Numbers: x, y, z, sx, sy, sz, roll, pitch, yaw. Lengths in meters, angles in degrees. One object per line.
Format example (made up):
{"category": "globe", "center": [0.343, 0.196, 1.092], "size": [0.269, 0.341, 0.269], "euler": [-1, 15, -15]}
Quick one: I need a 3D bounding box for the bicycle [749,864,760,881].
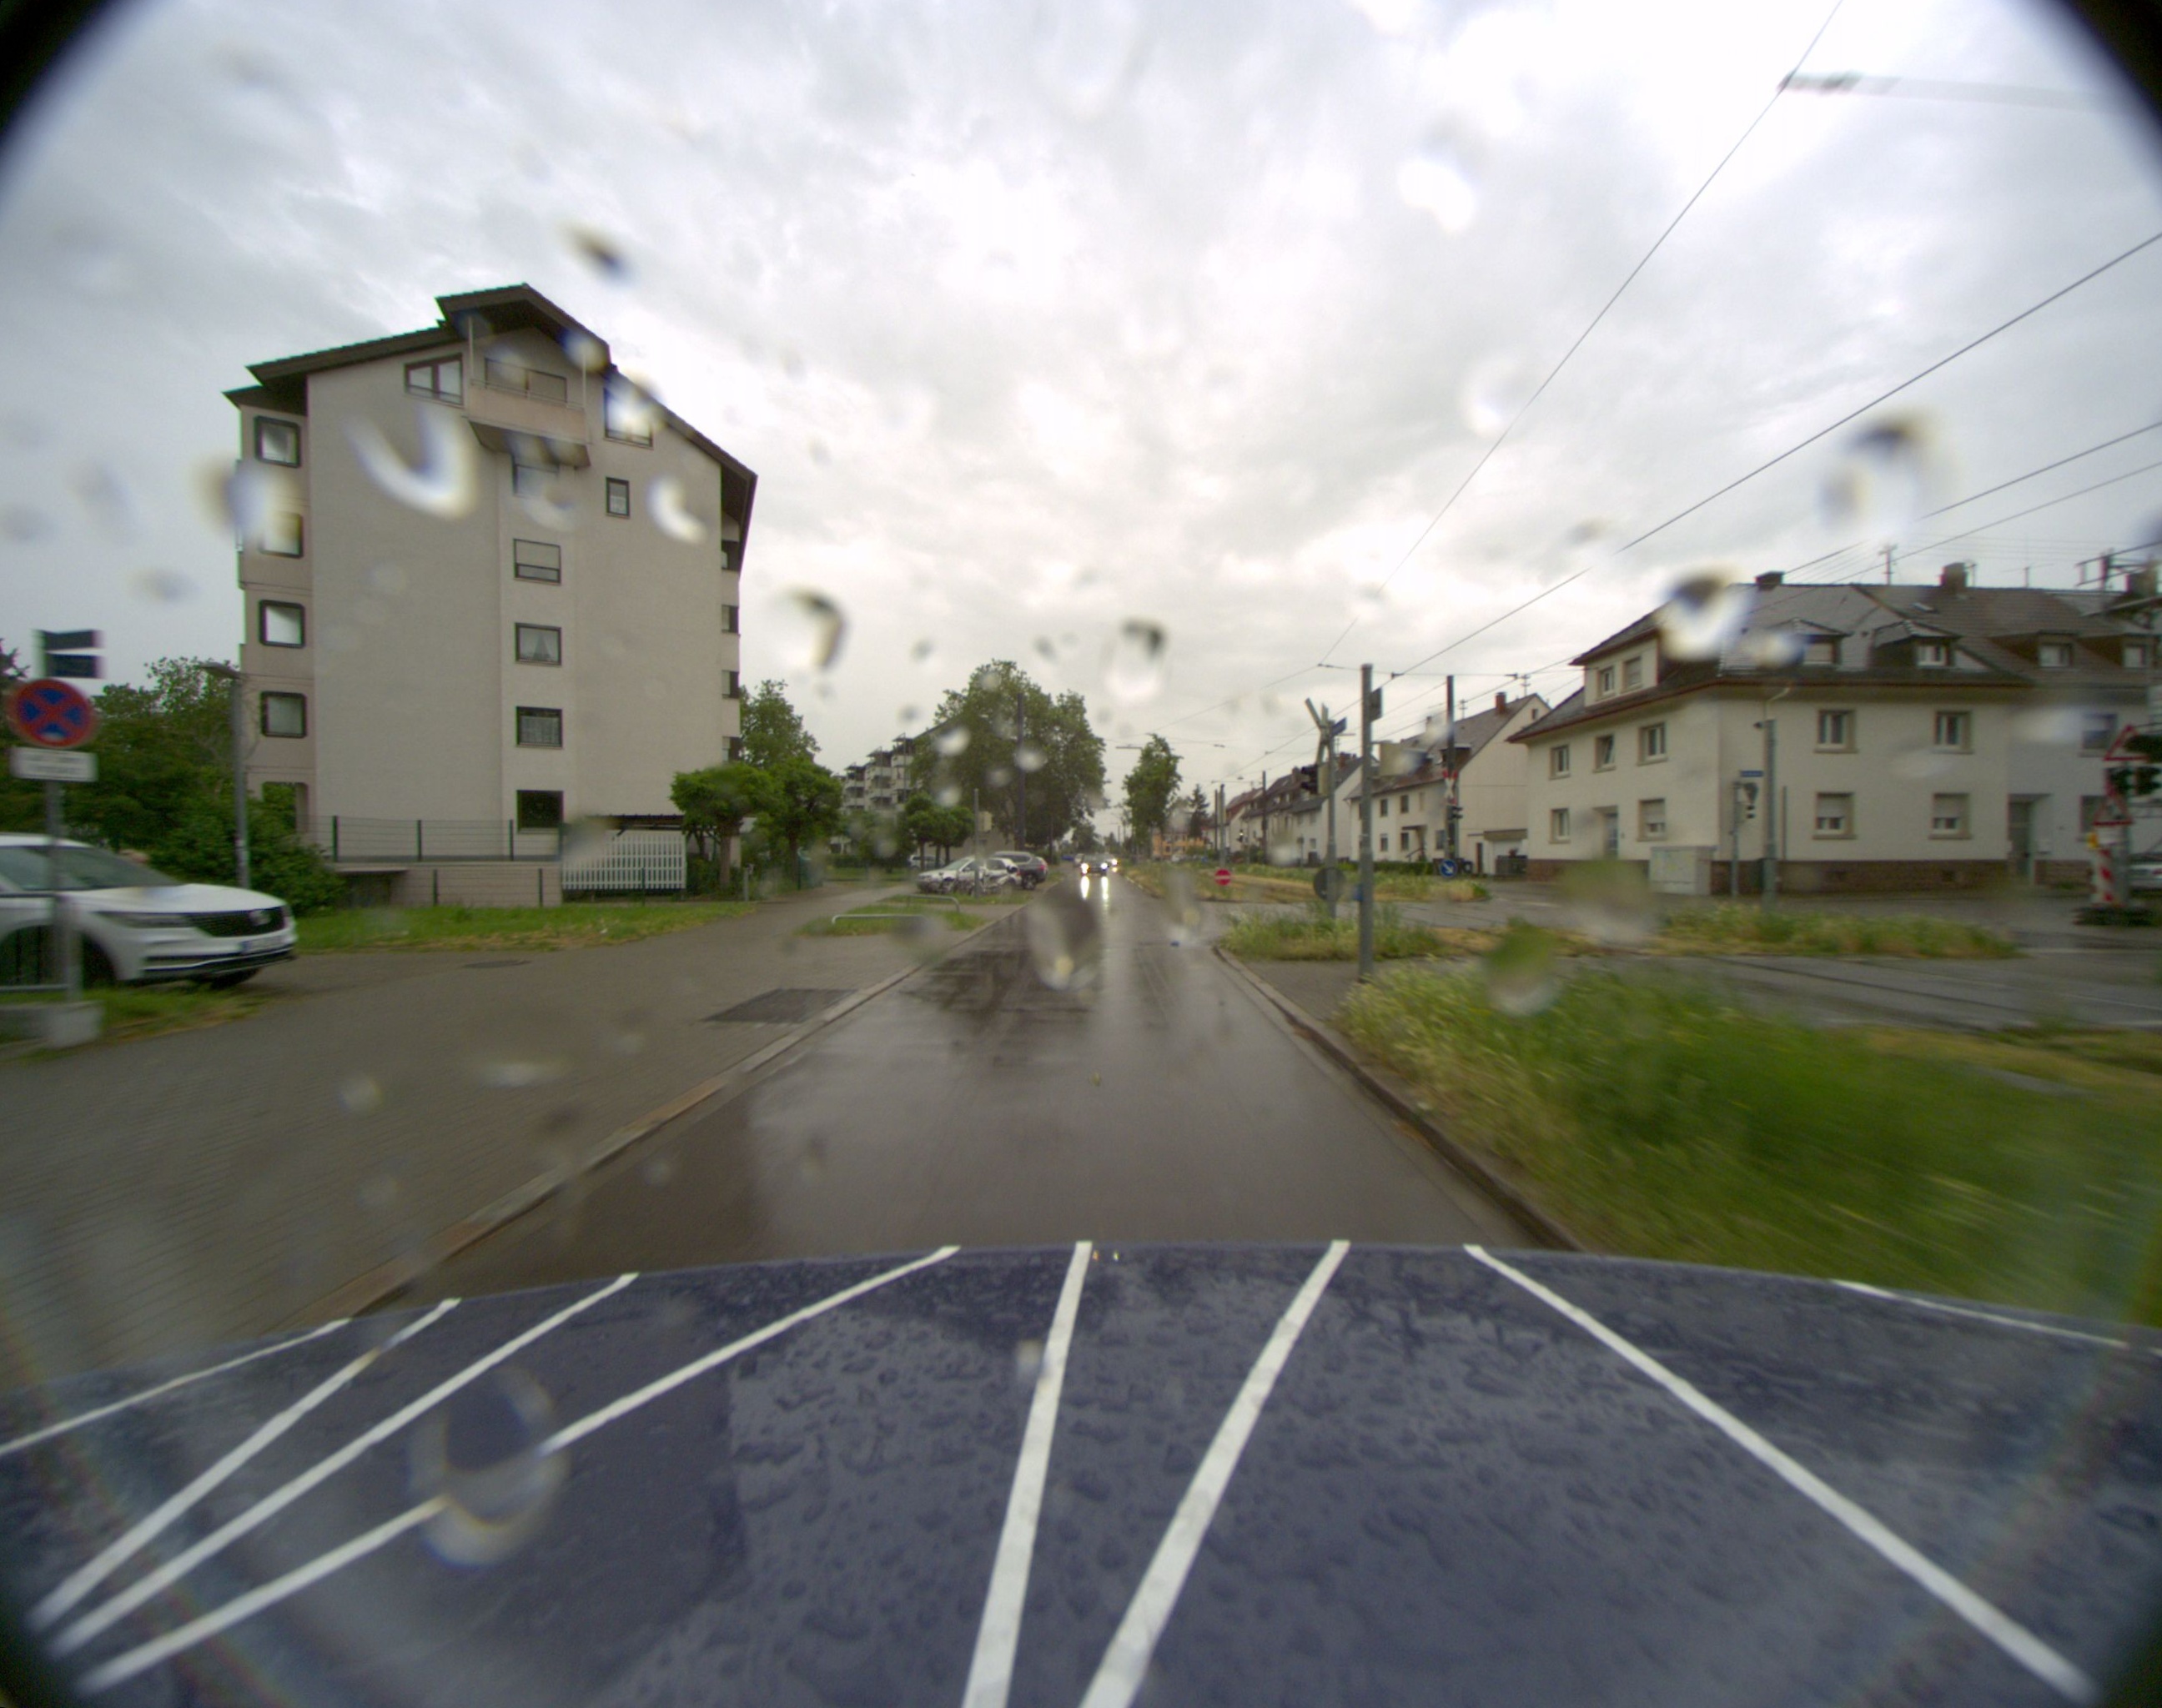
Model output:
{"category": "bicycle", "center": [-16.809, 0.934, 39.061], "size": [0.491, 0.843, 1.569], "euler": [0, 1, -24]}

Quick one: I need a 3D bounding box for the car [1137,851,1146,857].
{"category": "car", "center": [16.491, 0.022, 208.357], "size": [2.096, 1.423, 4.076], "euler": [0, 0, -1]}

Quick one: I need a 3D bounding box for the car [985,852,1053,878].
{"category": "car", "center": [-3.946, 0.665, 48.637], "size": [4.008, 1.500, 1.700], "euler": [0, 3, -37]}

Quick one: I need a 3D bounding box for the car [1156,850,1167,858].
{"category": "car", "center": [17.153, 0.011, 161.801], "size": [1.912, 1.581, 3.999], "euler": [0, 0, 0]}

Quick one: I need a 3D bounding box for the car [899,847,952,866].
{"category": "car", "center": [-13.972, 0.203, 68.339], "size": [4.303, 1.671, 1.871], "euler": [0, 1, 3]}

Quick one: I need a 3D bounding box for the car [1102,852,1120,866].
{"category": "car", "center": [3.518, 0.548, 88.549], "size": [1.854, 1.500, 4.119], "euler": [1, 0, -1]}

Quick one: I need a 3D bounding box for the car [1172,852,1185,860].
{"category": "car", "center": [17.197, 0.326, 134.094], "size": [1.715, 1.432, 3.999], "euler": [1, 0, -1]}

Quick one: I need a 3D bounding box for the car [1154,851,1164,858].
{"category": "car", "center": [17.087, -0.001, 166.482], "size": [1.881, 1.520, 3.999], "euler": [0, 0, 0]}

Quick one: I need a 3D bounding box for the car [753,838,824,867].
{"category": "car", "center": [-28.596, -0.119, 74.415], "size": [6.133, 2.762, 2.187], "euler": [0, 1, 3]}

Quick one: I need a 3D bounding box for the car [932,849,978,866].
{"category": "car", "center": [-11.897, 0.302, 71.696], "size": [4.121, 1.500, 1.853], "euler": [-1, 1, -12]}

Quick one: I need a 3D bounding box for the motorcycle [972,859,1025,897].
{"category": "motorcycle", "center": [-2.992, 0.864, 27.647], "size": [1.783, 1.329, 0.687], "euler": [1, 0, -34]}

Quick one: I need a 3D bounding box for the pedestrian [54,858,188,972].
{"category": "pedestrian", "center": [-13.796, 0.845, 10.947], "size": [0.840, 1.561, 0.814], "euler": [0, 1, -8]}

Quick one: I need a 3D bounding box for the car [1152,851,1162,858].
{"category": "car", "center": [17.603, 0.149, 175.393], "size": [1.998, 1.648, 4.000], "euler": [-1, 1, 2]}

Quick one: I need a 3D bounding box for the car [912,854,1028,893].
{"category": "car", "center": [-4.301, 0.749, 29.720], "size": [4.133, 1.414, 1.734], "euler": [1, 0, -34]}

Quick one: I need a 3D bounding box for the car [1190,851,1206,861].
{"category": "car", "center": [16.957, 0.333, 110.276], "size": [1.777, 1.418, 3.937], "euler": [1, 0, 0]}

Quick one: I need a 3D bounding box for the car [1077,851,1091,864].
{"category": "car", "center": [0.351, 0.382, 89.872], "size": [1.562, 1.510, 3.999], "euler": [0, 0, -1]}

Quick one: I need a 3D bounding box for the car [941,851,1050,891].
{"category": "car", "center": [-3.725, 0.702, 33.331], "size": [4.357, 1.641, 1.853], "euler": [0, 0, -31]}

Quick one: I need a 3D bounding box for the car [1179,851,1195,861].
{"category": "car", "center": [17.129, 0.313, 122.912], "size": [1.891, 1.523, 4.755], "euler": [1, 0, -1]}

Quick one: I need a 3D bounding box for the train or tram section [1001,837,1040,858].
{"category": "train or tram section", "center": [-9.818, -1.076, 122.945], "size": [2.763, 3.320, 6.382], "euler": [0, 1, -44]}

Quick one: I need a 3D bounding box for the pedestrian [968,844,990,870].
{"category": "pedestrian", "center": [-7.078, 0.188, 52.896], "size": [1.101, 1.803, 1.435], "euler": [0, 1, 11]}

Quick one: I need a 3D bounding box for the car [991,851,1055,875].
{"category": "car", "center": [-3.973, 0.611, 51.961], "size": [4.007, 1.500, 1.779], "euler": [0, 2, -34]}

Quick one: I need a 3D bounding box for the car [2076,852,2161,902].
{"category": "car", "center": [32.552, 0.641, 22.408], "size": [4.364, 1.393, 1.841], "euler": [0, 1, -5]}

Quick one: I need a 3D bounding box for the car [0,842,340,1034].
{"category": "car", "center": [-11.051, 0.767, 7.611], "size": [4.820, 1.735, 1.998], "euler": [0, 1, -13]}

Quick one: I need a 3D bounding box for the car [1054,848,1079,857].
{"category": "car", "center": [-2.502, -0.255, 131.286], "size": [4.007, 1.518, 1.715], "euler": [0, 1, -33]}

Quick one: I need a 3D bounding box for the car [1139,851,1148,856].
{"category": "car", "center": [16.410, -0.174, 199.626], "size": [1.885, 1.423, 4.076], "euler": [0, 0, -1]}

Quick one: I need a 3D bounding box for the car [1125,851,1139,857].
{"category": "car", "center": [15.179, -0.099, 226.988], "size": [3.998, 1.638, 1.893], "euler": [1, 1, -3]}

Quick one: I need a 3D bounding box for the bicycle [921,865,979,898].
{"category": "bicycle", "center": [-4.540, 0.941, 26.390], "size": [1.961, 1.095, 0.627], "euler": [1, 0, -44]}
